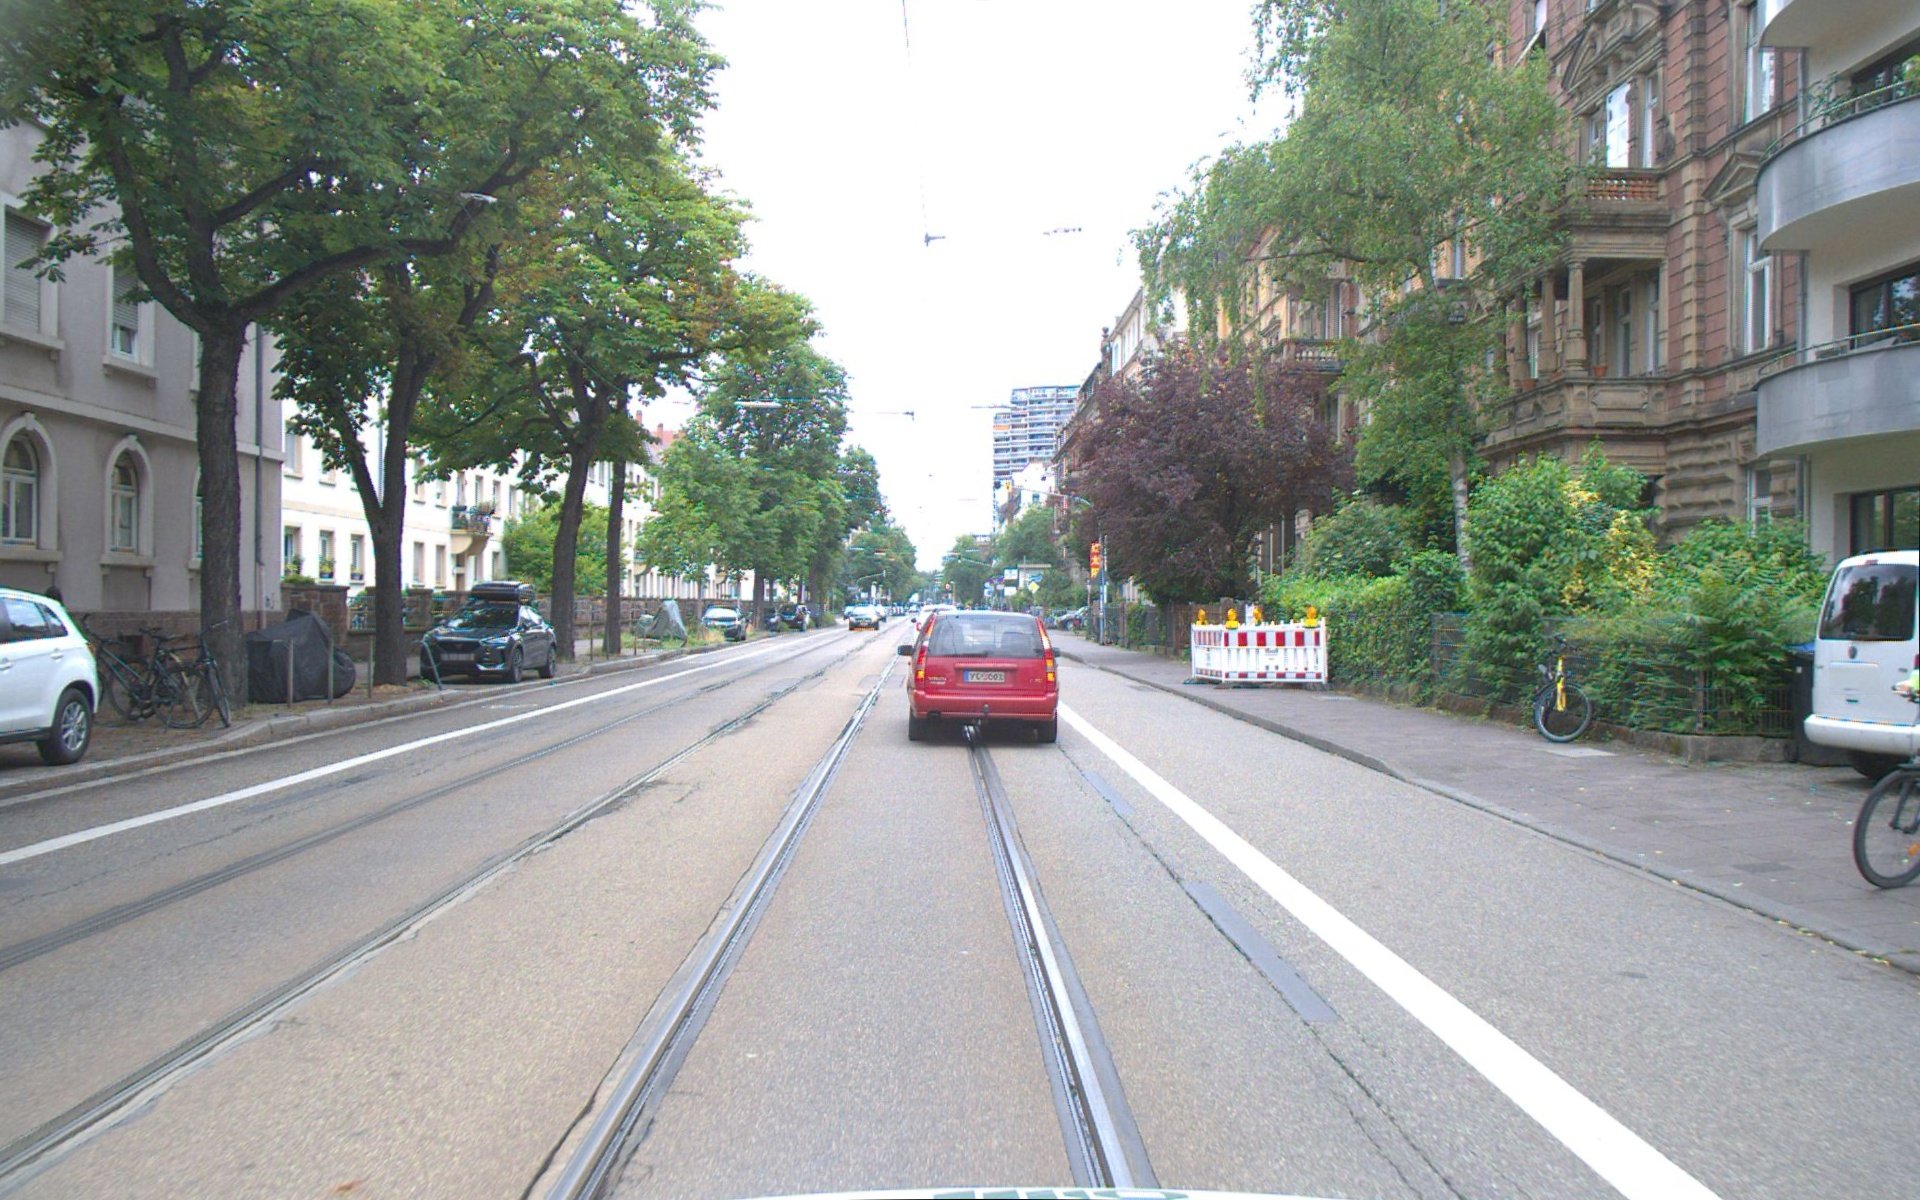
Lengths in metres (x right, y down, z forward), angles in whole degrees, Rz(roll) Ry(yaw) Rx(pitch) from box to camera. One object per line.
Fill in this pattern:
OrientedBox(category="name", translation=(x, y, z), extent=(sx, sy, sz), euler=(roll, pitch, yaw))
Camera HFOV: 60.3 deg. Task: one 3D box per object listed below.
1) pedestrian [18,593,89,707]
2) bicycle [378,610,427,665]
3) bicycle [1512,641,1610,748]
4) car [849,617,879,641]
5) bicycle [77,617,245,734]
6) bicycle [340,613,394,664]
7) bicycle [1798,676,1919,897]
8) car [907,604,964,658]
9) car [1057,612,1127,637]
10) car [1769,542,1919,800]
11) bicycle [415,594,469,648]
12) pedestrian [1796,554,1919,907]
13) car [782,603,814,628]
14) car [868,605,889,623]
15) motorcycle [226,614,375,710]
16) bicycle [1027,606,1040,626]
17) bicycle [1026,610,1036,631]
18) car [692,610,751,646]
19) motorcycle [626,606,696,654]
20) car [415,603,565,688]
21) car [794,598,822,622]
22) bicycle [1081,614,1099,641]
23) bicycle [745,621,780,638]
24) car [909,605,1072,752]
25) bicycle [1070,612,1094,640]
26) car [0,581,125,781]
OrientedBox(category="pedestrian", translation=(-12.135, 0.659, 22.160), extent=(0.553, 1.493, 0.722), euler=(0, 0, -1))
OrientedBox(category="bicycle", translation=(-14.757, 0.970, 43.813), extent=(0.615, 1.406, 2.140), euler=(0, 0, -1))
OrientedBox(category="bicycle", translation=(6.364, 0.980, 17.565), extent=(0.469, 1.063, 1.531), euler=(0, 0, -1))
OrientedBox(category="car", translation=(-5.738, 1.722, 99.317), extent=(1.720, 1.404, 4.025), euler=(0, 0, -2))
OrientedBox(category="bicycle", translation=(-9.265, 0.860, 19.193), extent=(1.706, 1.212, 0.653), euler=(2, 5, 13))
OrientedBox(category="bicycle", translation=(-15.650, 0.997, 43.728), extent=(0.733, 1.321, 2.140), euler=(0, 0, -2))
OrientedBox(category="bicycle", translation=(5.657, 0.965, 9.050), extent=(1.804, 1.094, 0.606), euler=(-3, 0, -3))
OrientedBox(category="car", translation=(-0.751, 0.955, 52.866), extent=(1.683, 1.653, 3.941), euler=(1, 0, 1))
OrientedBox(category="car", translation=(7.663, 1.421, 96.035), extent=(3.902, 1.385, 1.894), euler=(0, 0, 9))
OrientedBox(category="car", translation=(8.786, 0.509, 13.072), extent=(3.906, 1.891, 1.808), euler=(0, 0, -1))
OrientedBox(category="bicycle", translation=(-13.788, 0.559, 44.101), extent=(0.776, 1.406, 2.140), euler=(0, 0, -1))
OrientedBox(category="pedestrian", translation=(5.362, 0.627, 8.804), extent=(1.204, 1.763, 1.018), euler=(-3, 0, -2))
OrientedBox(category="car", translation=(-10.846, 1.032, 111.201), extent=(1.813, 1.590, 3.942), euler=(1, 0, -1))
OrientedBox(category="car", translation=(-7.571, 1.319, 154.420), extent=(1.855, 1.639, 4.499), euler=(1, 0, -1))
OrientedBox(category="motorcycle", translation=(-9.532, 0.861, 24.021), extent=(0.845, 1.311, 2.324), euler=(1, 0, 12))
OrientedBox(category="bicycle", translation=(4.775, 1.038, 107.274), extent=(0.694, 1.323, 1.903), euler=(0, 0, -1))
OrientedBox(category="bicycle", translation=(4.751, 1.373, 110.912), extent=(0.540, 1.425, 1.733), euler=(0, 0, -1))
OrientedBox(category="car", translation=(-10.001, 1.159, 69.724), extent=(1.851, 1.422, 4.416), euler=(1, 0, 0))
OrientedBox(category="motorcycle", translation=(-9.889, 0.982, 54.670), extent=(2.225, 1.538, 0.924), euler=(0, -2, 34))
OrientedBox(category="car", translation=(-9.243, 0.853, 32.869), extent=(1.741, 1.537, 4.237), euler=(1, 0, 0))
OrientedBox(category="car", translation=(-10.865, 0.712, 118.598), extent=(1.678, 1.608, 3.999), euler=(2, 0, -1))
OrientedBox(category="bicycle", translation=(5.163, 1.089, 65.740), extent=(0.512, 1.048, 2.175), euler=(-1, 0, -1))
OrientedBox(category="bicycle", translation=(-10.152, 1.515, 84.950), extent=(1.713, 0.858, 0.684), euler=(1, 0, 0))
OrientedBox(category="car", translation=(0.280, 0.821, 19.041), extent=(1.655, 1.467, 3.742), euler=(1, 0, -1))
OrientedBox(category="bicycle", translation=(6.763, 1.429, 91.714), extent=(0.898, 1.533, 2.382), euler=(0, 0, 16))
OrientedBox(category="car", translation=(-9.001, 0.669, 13.956), extent=(1.859, 1.684, 4.223), euler=(1, 0, -2))
